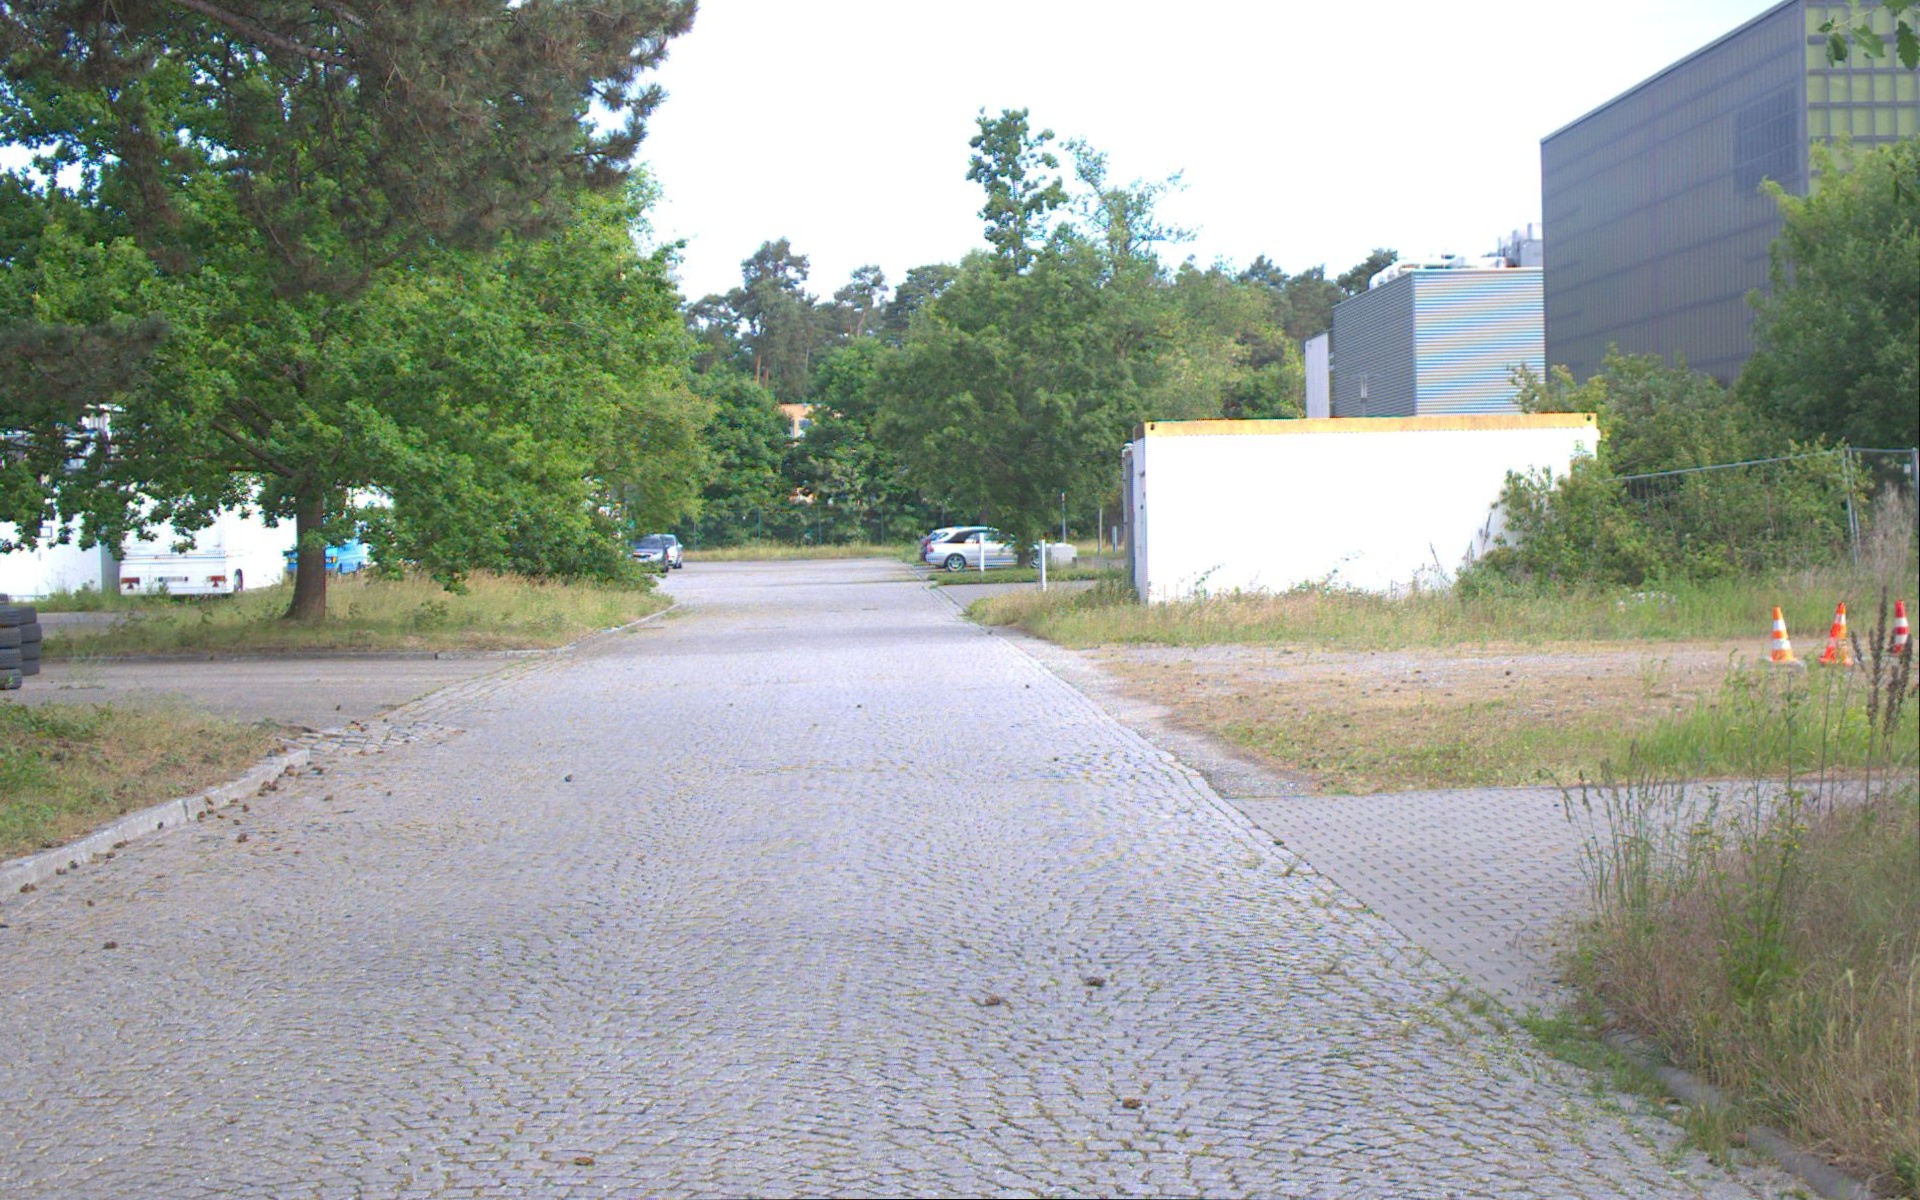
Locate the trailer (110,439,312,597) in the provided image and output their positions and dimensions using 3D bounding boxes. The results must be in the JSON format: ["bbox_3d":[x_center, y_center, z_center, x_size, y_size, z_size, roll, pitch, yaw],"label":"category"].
[{"bbox_3d":[-18.228,-2.005,84.347,2.625,3.585,10.178,-1,1,0],"label":"trailer"}]

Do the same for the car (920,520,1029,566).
[{"bbox_3d":[0.472,-1.923,115.173,3.522,1.357,1.623,-3,1,-1],"label":"car"}]

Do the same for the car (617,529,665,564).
[{"bbox_3d":[-12.637,-2.132,136.420,1.647,1.364,3.998,-1,1,-2],"label":"car"}]

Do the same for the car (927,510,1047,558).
[{"bbox_3d":[0.913,-2.258,117.873,3.984,1.443,1.653,-3,1,-1],"label":"car"}]

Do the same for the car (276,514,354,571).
[{"bbox_3d":[-23.245,-2.094,124.124,1.993,2.007,4.768,-1,1,-1],"label":"car"}]
